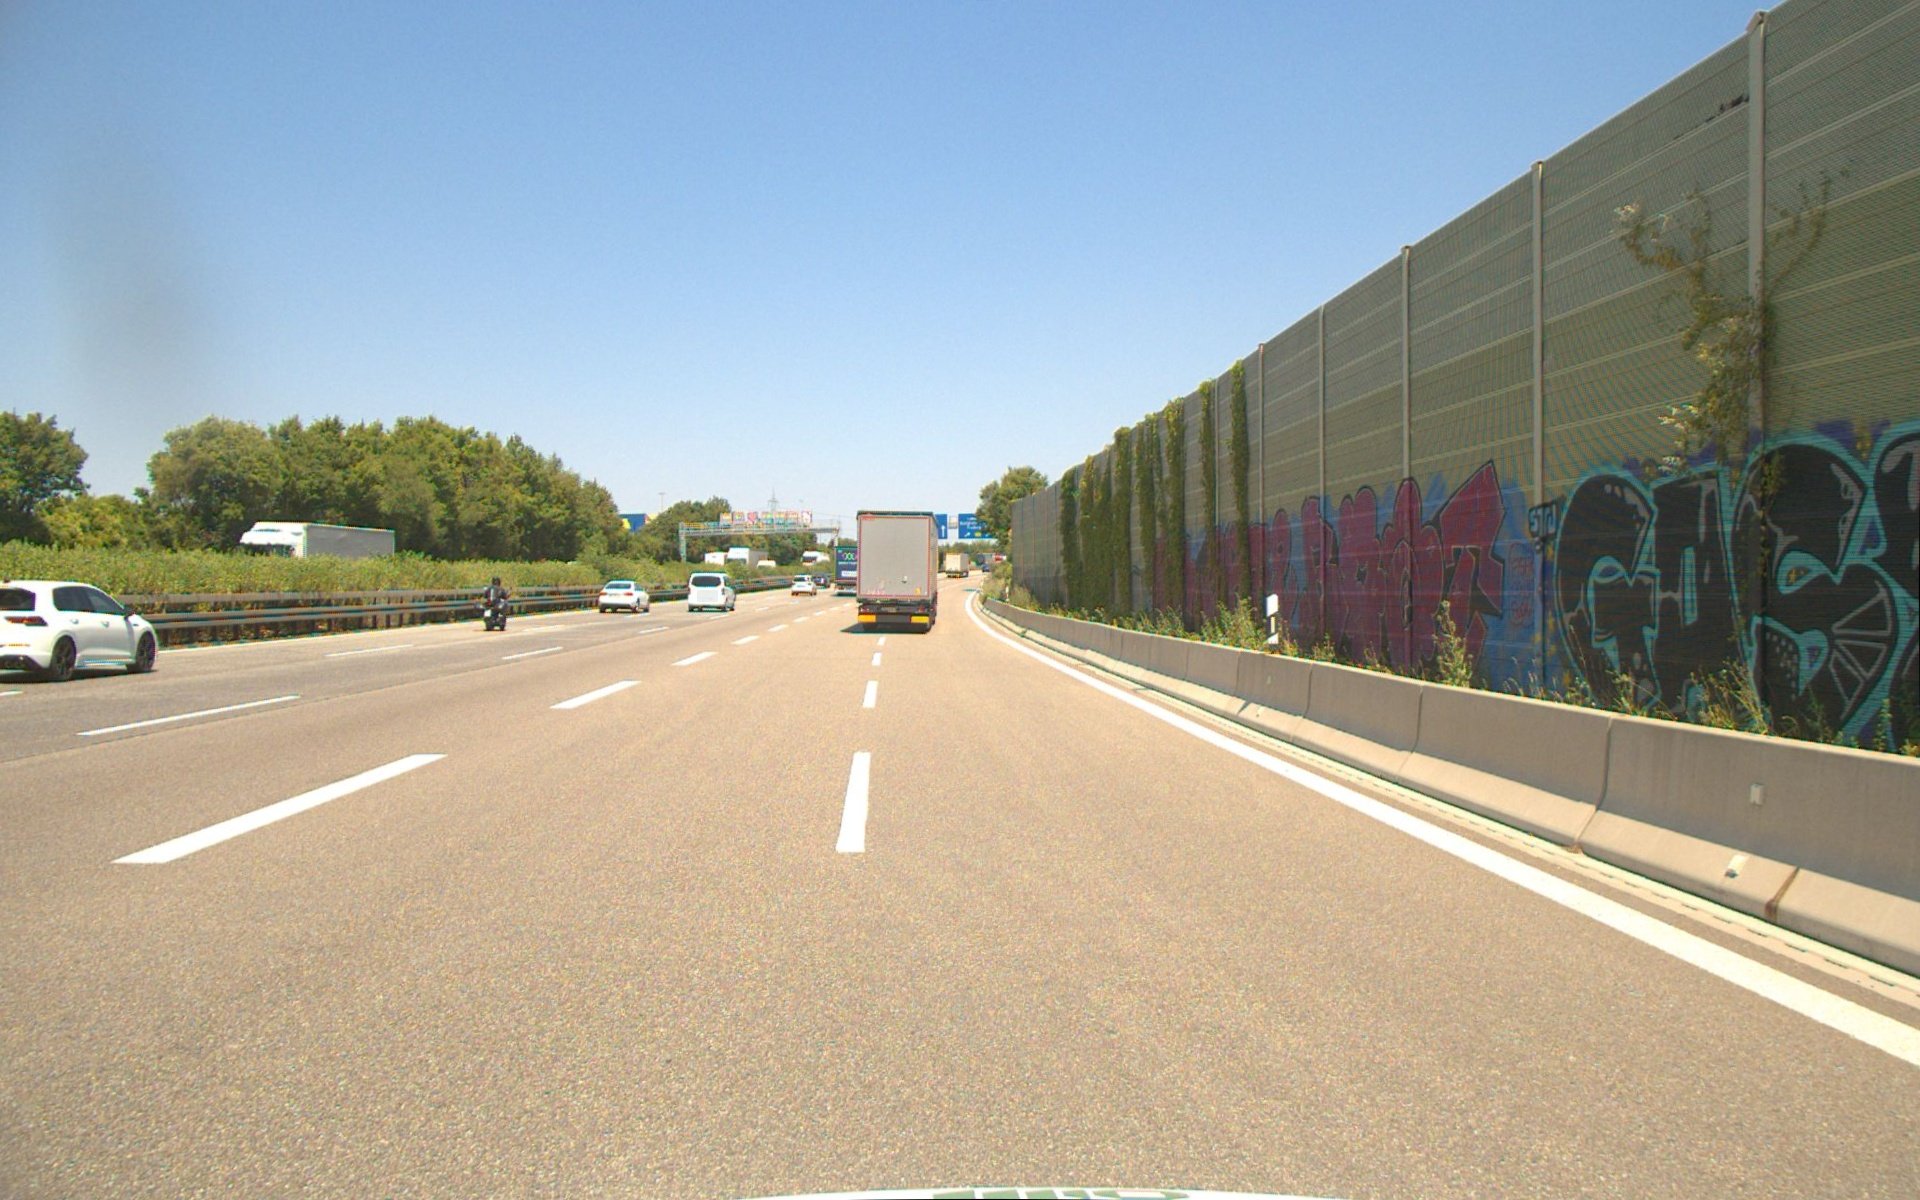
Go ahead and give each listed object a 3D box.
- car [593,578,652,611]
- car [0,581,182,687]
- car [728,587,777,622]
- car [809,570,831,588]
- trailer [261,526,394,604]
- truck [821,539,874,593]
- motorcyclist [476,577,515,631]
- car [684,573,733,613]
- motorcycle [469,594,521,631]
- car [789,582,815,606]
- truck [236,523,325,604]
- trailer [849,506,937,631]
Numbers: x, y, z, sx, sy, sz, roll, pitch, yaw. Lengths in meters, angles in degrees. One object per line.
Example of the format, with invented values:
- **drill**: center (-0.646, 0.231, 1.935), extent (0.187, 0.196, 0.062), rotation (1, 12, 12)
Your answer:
- **car**: center (-15.698, -0.226, 77.265), extent (1.838, 1.466, 5.124), rotation (1, 0, -2)
- **car**: center (-13.859, 0.455, 25.390), extent (1.746, 1.465, 4.667), rotation (0, 1, -2)
- **car**: center (-11.457, 0.256, 91.650), extent (1.837, 1.838, 5.127), rotation (0, 0, 3)
- **car**: center (-14.708, -2.184, 174.082), extent (1.865, 1.747, 4.630), rotation (0, -1, 0)
- **trailer**: center (-34.939, -1.862, 92.054), extent (2.486, 4.016, 13.717), rotation (1, 0, -2)
- **truck**: center (-9.590, -2.961, 142.293), extent (3.671, 4.344, 14.495), rotation (1, 1, -1)
- **motorcyclist**: center (-14.278, 0.120, 50.833), extent (0.875, 1.625, 1.298), rotation (0, 0, -3)
- **car**: center (-12.539, -0.315, 82.693), extent (1.892, 1.884, 4.690), rotation (0, -1, -2)
- **motorcycle**: center (-14.281, 0.365, 50.866), extent (0.894, 1.108, 2.848), rotation (0, 0, -3)
- **car**: center (-13.036, -0.528, 136.561), extent (1.866, 1.884, 4.629), rotation (0, 1, -2)
- **truck**: center (-34.750, -1.826, 84.739), extent (2.487, 4.016, 5.165), rotation (1, 0, -2)
- **trailer**: center (-2.367, -1.146, 60.294), extent (2.869, 4.085, 12.036), rotation (0, 1, -2)
